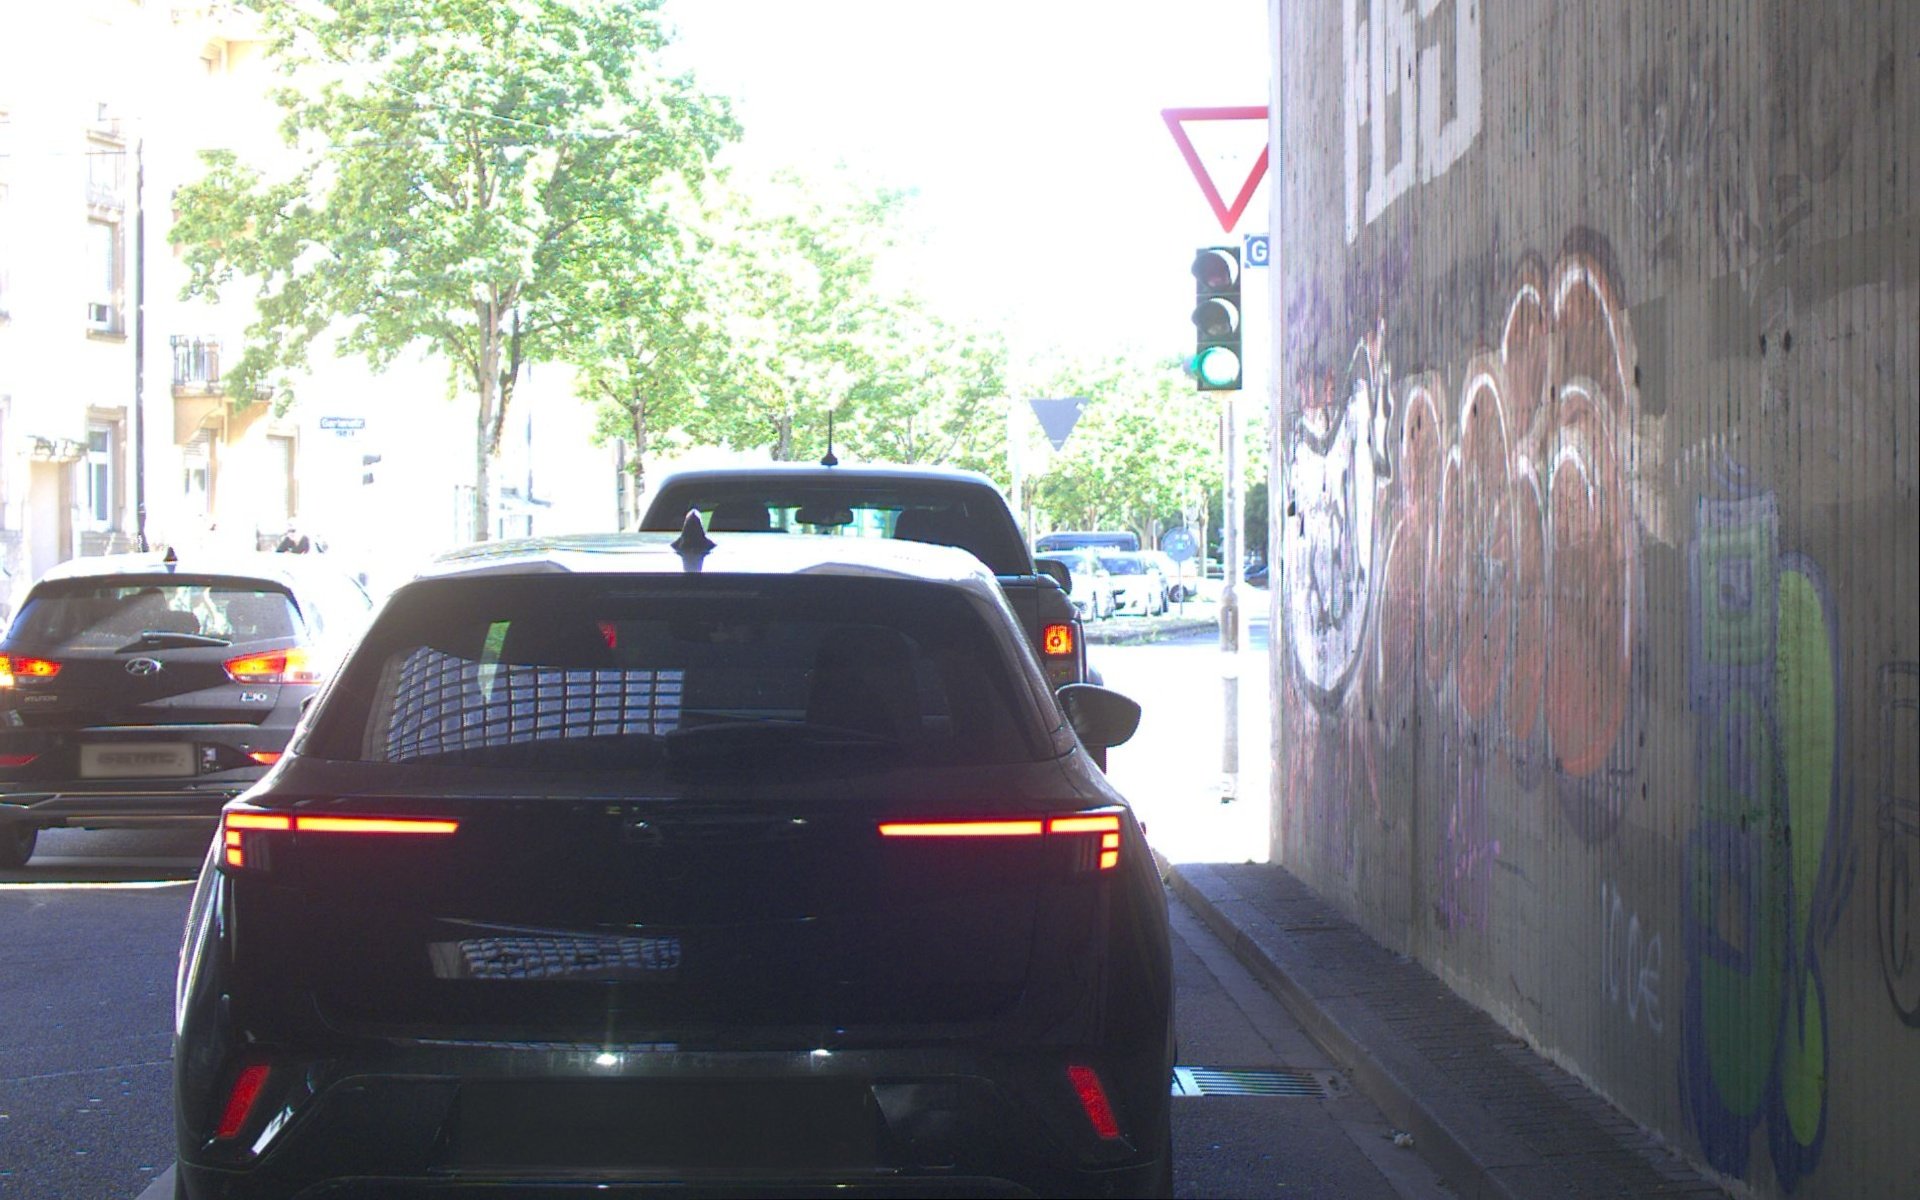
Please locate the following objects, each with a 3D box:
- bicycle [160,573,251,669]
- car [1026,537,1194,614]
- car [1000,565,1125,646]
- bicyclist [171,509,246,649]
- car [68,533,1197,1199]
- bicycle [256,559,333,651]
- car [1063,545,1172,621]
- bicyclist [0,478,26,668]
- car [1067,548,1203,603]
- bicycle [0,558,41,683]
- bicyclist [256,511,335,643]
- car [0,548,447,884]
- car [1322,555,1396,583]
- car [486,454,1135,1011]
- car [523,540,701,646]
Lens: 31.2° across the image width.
[{"bbox_3d":[-8.854,0.230,40.400,0.525,1.086,1.860,0,1,5],"label":"bicycle"},{"bbox_3d":[5.052,-0.828,115.857,5.259,2.537,1.986,-1,0,-15],"label":"car"},{"bbox_3d":[1.959,0.077,64.557,1.708,1.447,3.849,0,1,12],"label":"car"},{"bbox_3d":[-8.844,-0.254,40.471,0.606,1.627,0.910,0,1,5],"label":"bicyclist"},{"bbox_3d":[-0.542,0.624,7.332,1.781,1.512,3.756,0,1,-1],"label":"car"},{"bbox_3d":[-8.481,0.052,43.876,0.541,1.119,2.058,0,1,1],"label":"bicycle"},{"bbox_3d":[3.353,-0.372,72.698,1.705,1.507,3.861,-2,1,11],"label":"car"},{"bbox_3d":[-9.012,-0.249,31.220,0.745,1.705,0.967,0,3,2],"label":"bicyclist"},{"bbox_3d":[6.802,-0.971,133.605,4.883,2.076,1.986,-1,0,-25],"label":"car"},{"bbox_3d":[-8.996,0.196,31.241,0.698,1.086,1.860,0,3,3],"label":"bicycle"},{"bbox_3d":[-8.475,-0.300,43.905,0.782,1.654,1.031,0,1,1],"label":"bicyclist"},{"bbox_3d":[-3.697,0.476,17.230,1.800,1.446,4.327,0,1,-3],"label":"car"},{"bbox_3d":[22.338,-1.743,192.615,3.947,1.392,1.516,-3,0,1],"label":"car"},{"bbox_3d":[-0.622,0.393,13.841,2.133,1.829,4.941,0,1,-3],"label":"car"},{"bbox_3d":[-4.894,-0.118,48.775,1.658,1.436,3.462,0,1,9],"label":"car"}]
